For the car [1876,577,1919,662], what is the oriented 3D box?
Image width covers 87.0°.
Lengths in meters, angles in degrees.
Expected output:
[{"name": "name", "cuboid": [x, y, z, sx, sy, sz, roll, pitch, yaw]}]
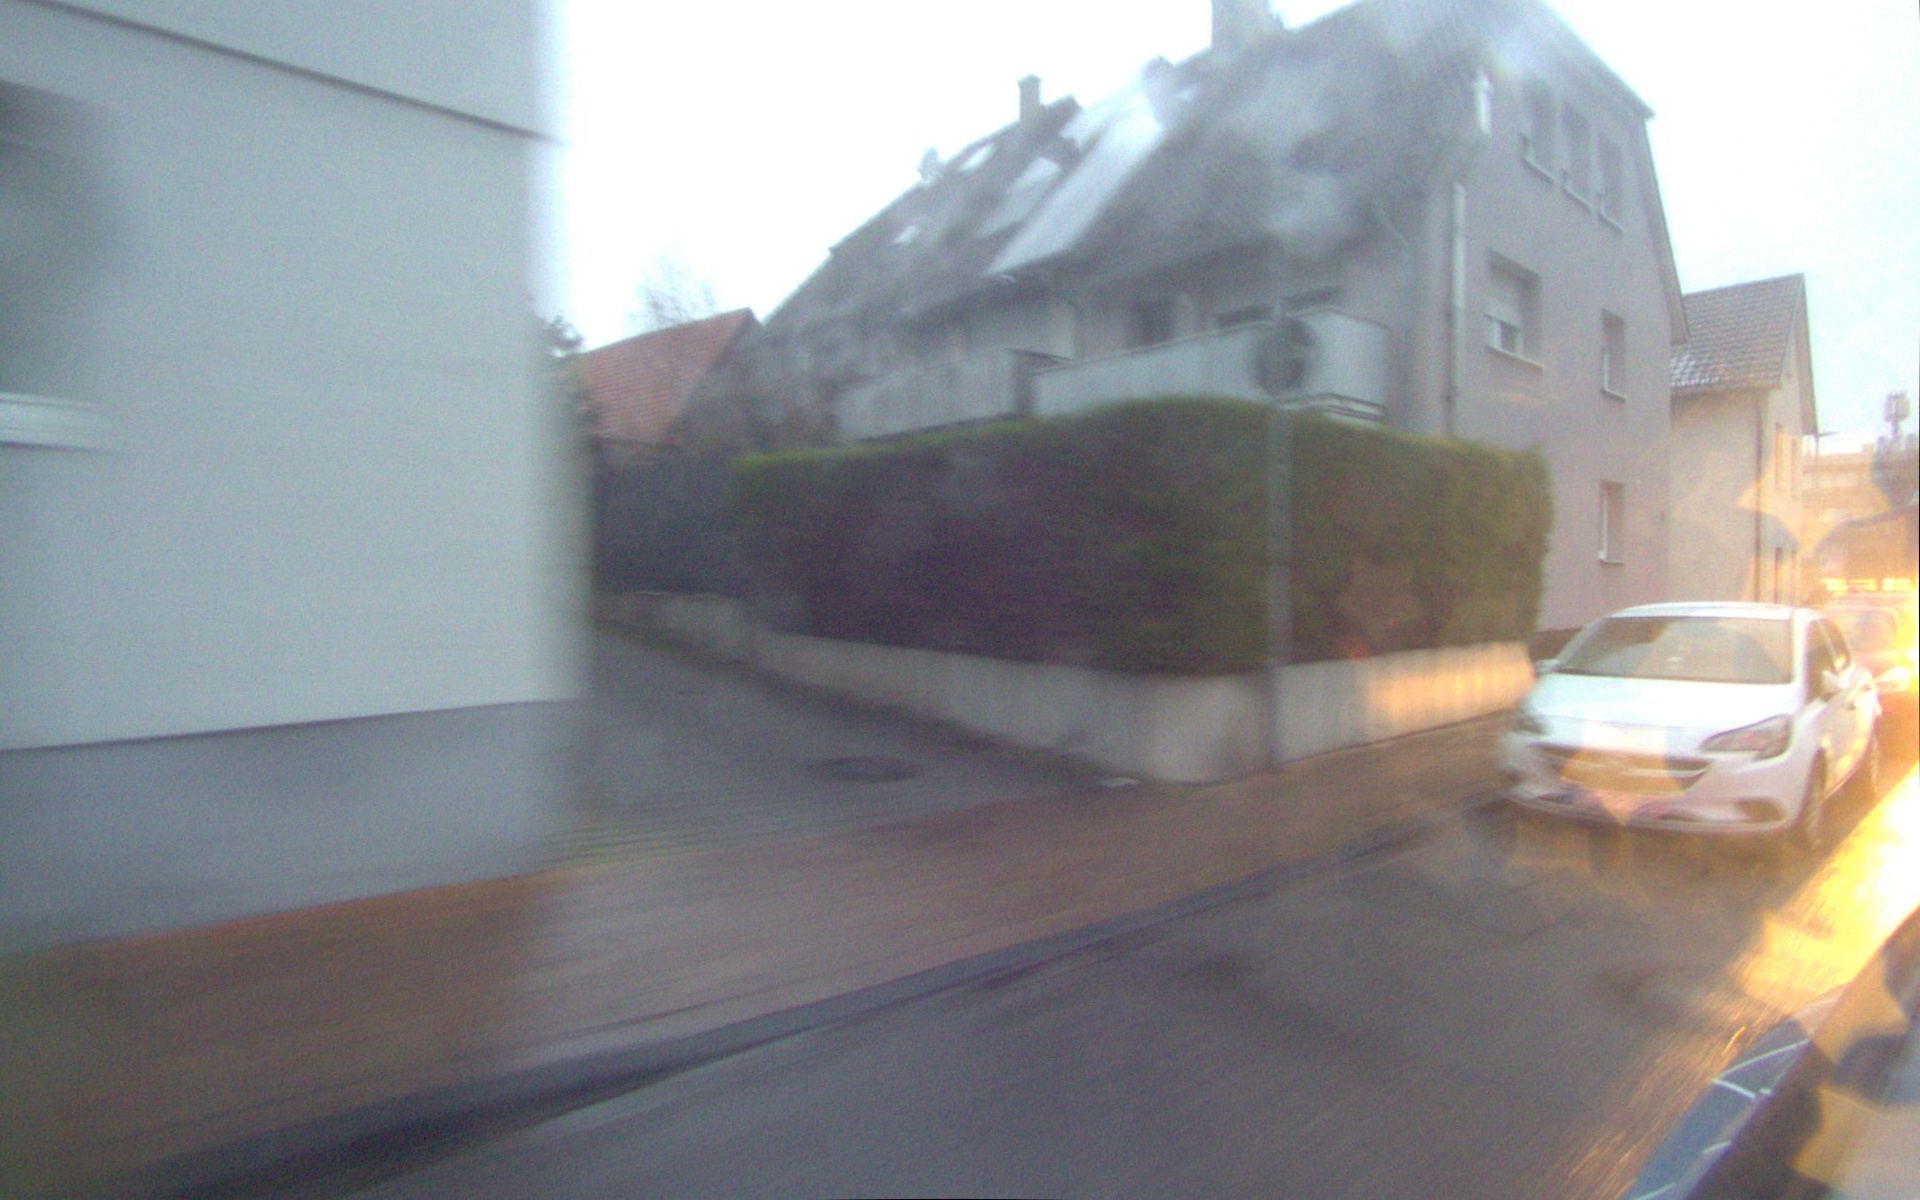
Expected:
[{"name": "car", "cuboid": [20.709, 0.372, 21.082, 4.163, 1.669, 1.989, 0, 1, -42]}]

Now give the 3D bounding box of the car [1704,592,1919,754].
[{"name": "car", "cuboid": [9.640, 0.632, 10.886, 4.229, 1.424, 1.738, 0, 1, -41]}]

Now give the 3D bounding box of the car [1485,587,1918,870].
[{"name": "car", "cuboid": [5.596, 0.668, 7.409, 4.295, 1.496, 1.646, 0, 1, -41]}]

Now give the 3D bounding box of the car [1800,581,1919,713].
[{"name": "car", "cuboid": [13.049, 0.543, 13.776, 4.229, 1.558, 1.813, -2, 2, -41]}]
